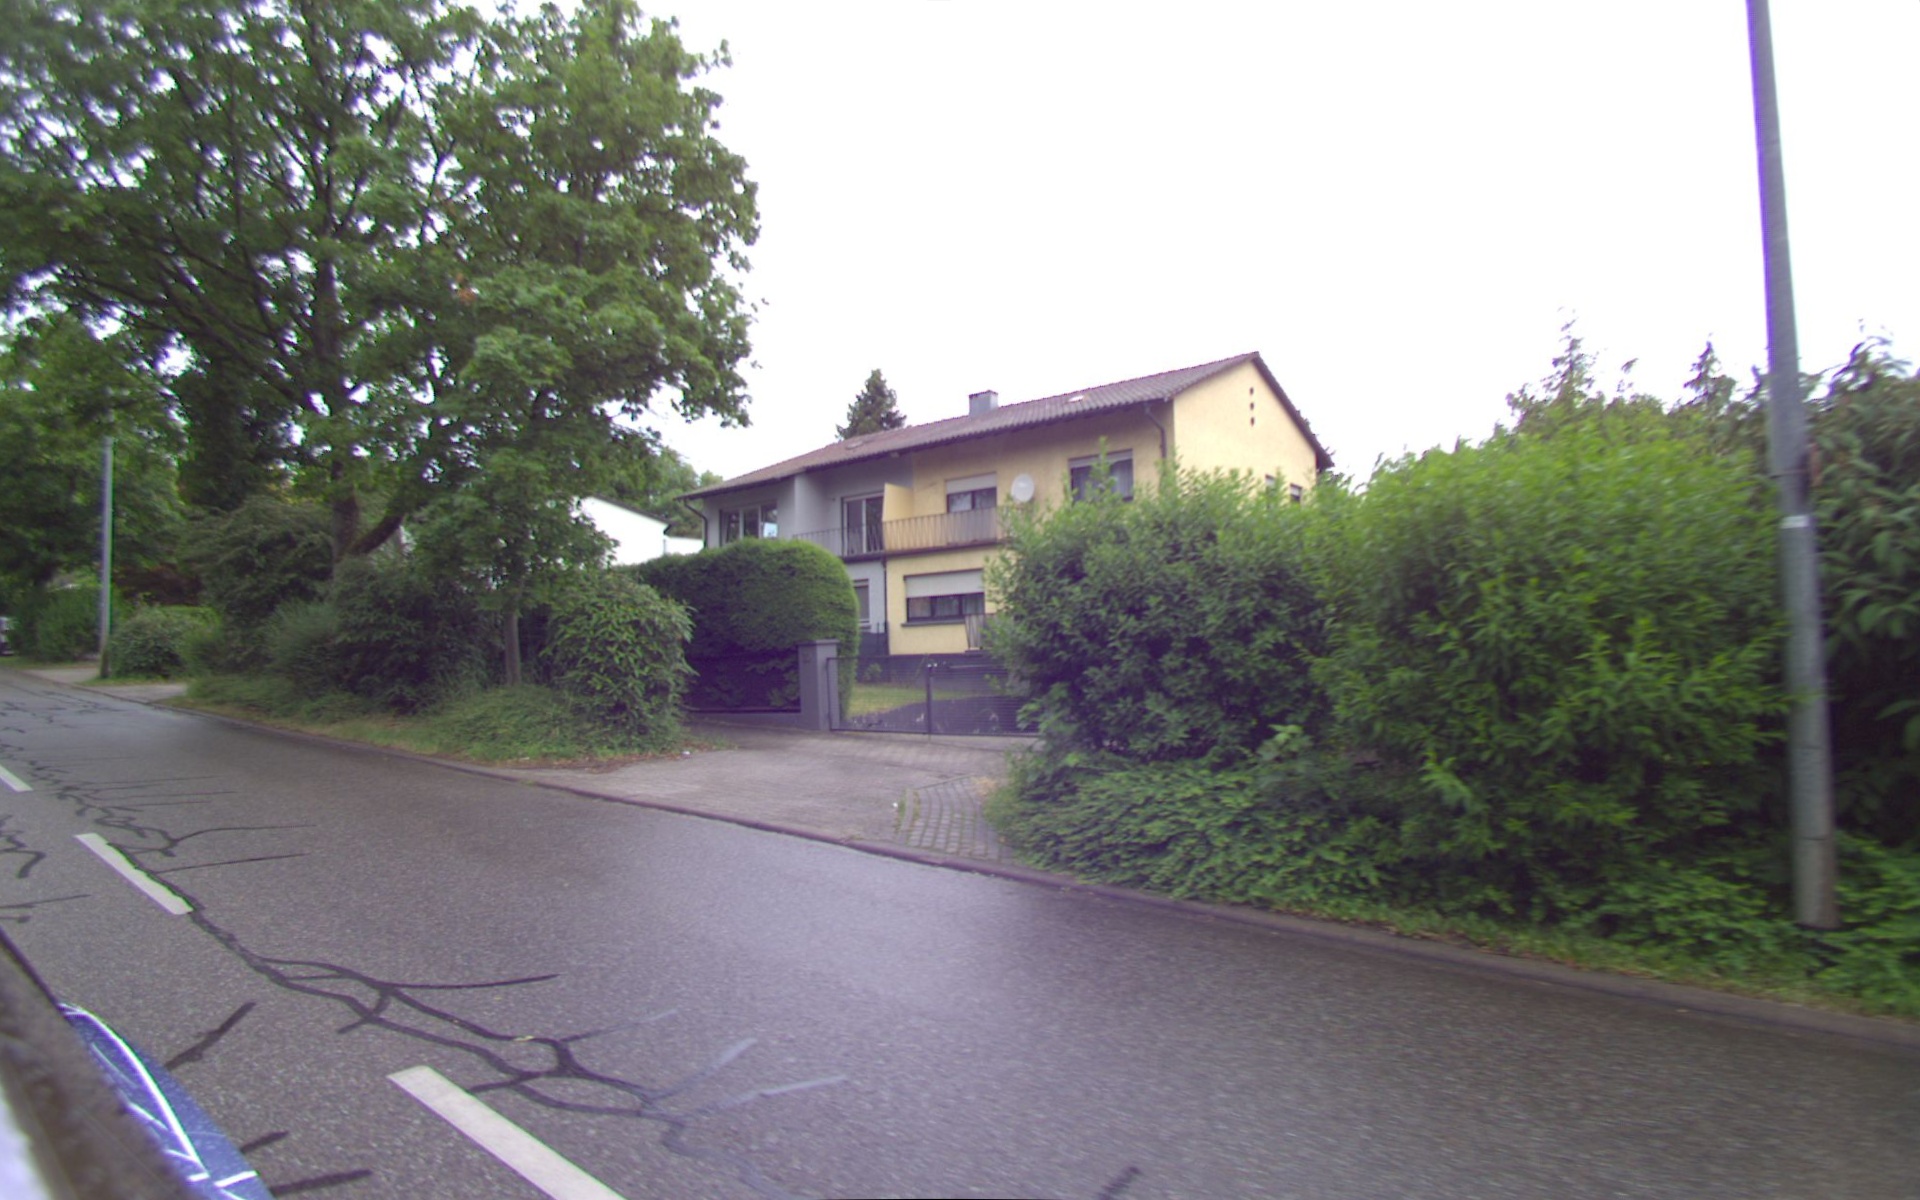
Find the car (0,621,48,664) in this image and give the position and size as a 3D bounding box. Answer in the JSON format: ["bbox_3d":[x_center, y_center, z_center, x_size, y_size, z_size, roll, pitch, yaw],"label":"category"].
[{"bbox_3d":[-38.490,1.688,40.898,4.277,1.554,1.648,0,1,37],"label":"car"}]
